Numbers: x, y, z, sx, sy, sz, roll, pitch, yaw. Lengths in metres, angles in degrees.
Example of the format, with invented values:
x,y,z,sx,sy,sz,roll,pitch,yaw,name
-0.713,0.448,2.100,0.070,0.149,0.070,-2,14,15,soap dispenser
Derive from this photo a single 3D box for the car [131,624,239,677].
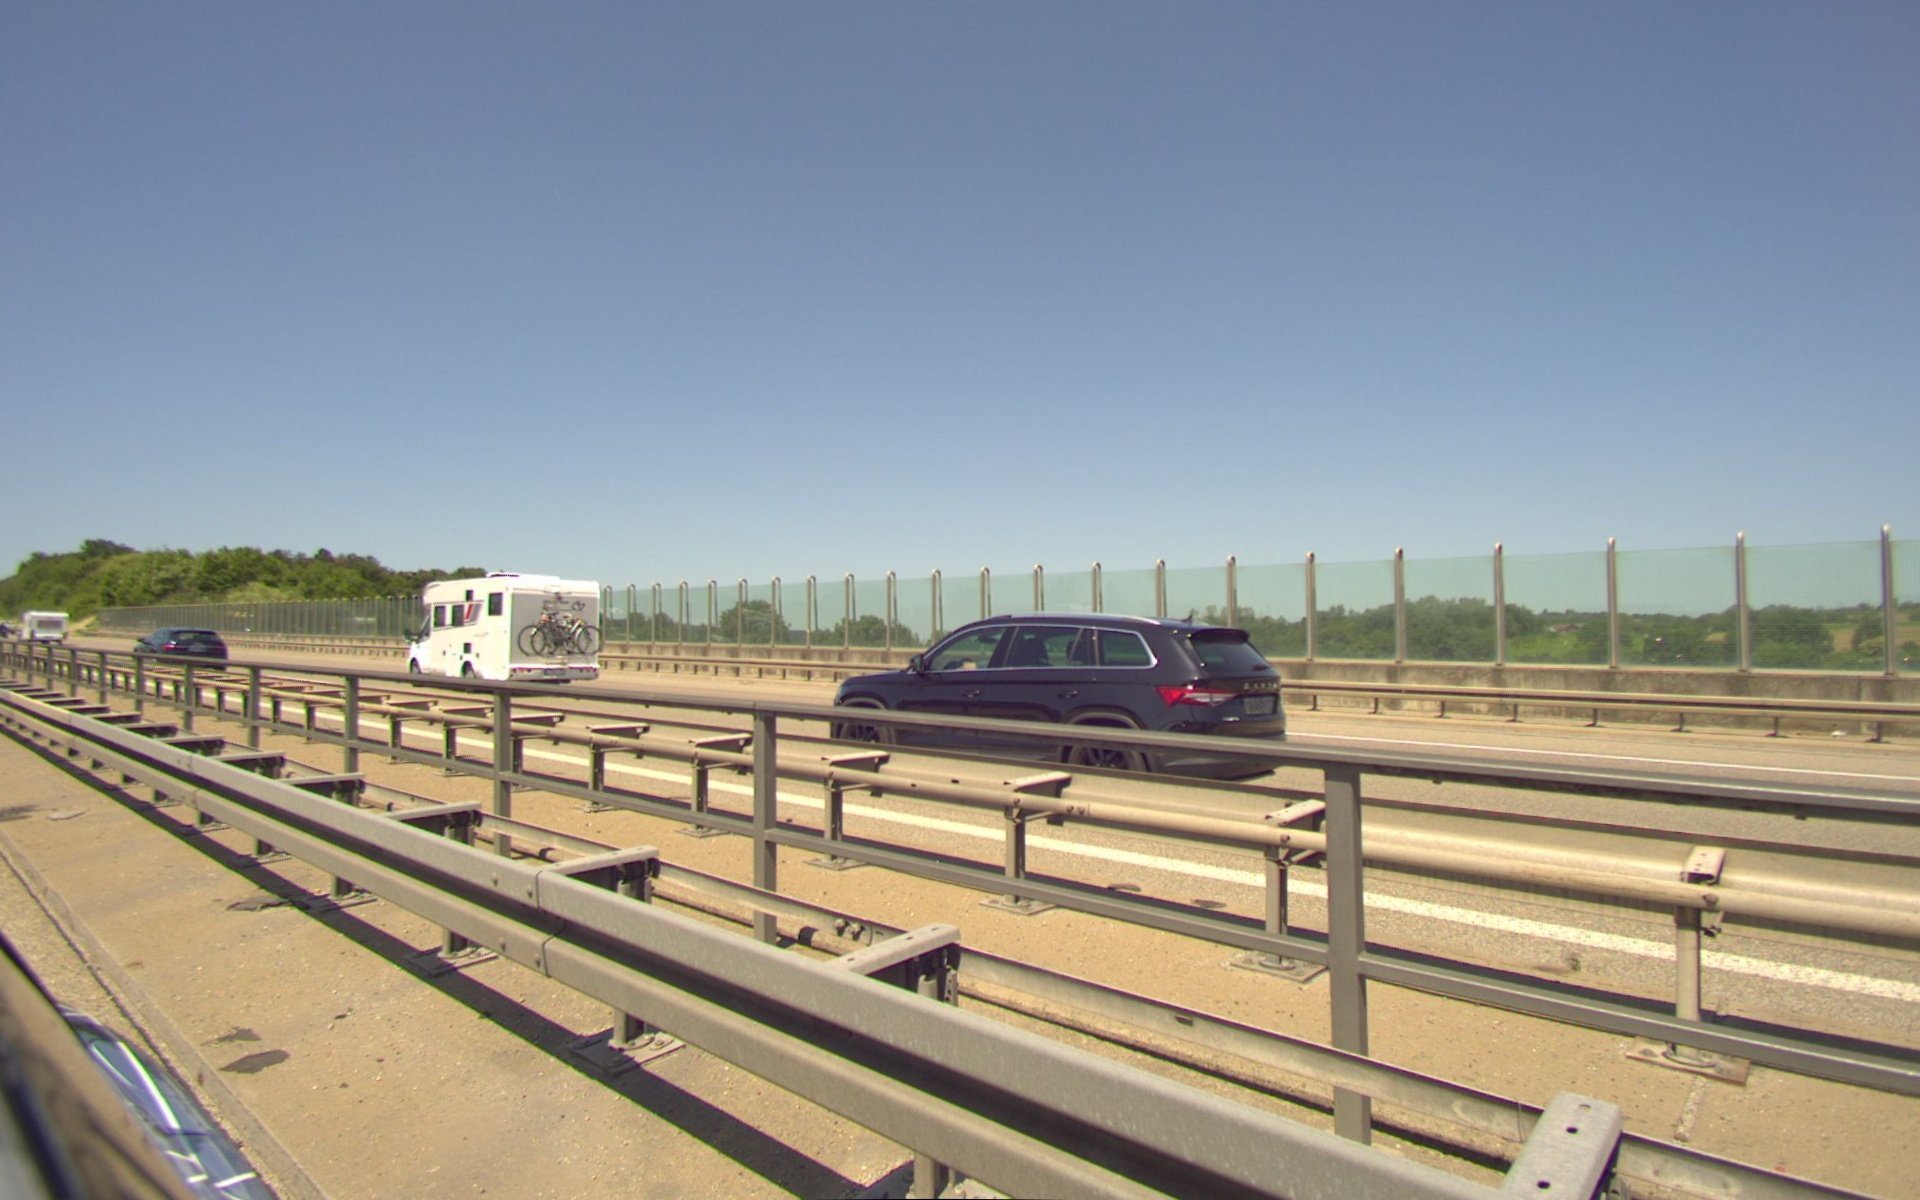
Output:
x,y,z,sx,sy,sz,roll,pitch,yaw,name
-24.914,1.615,32.476,4.422,1.543,1.848,-2,-5,41,car

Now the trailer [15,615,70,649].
x,y,z,sx,sy,sz,roll,pitch,yaw,name
-73.821,2.585,81.374,6.771,2.569,2.467,-2,-4,41,trailer

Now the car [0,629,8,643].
x,y,z,sx,sy,sz,roll,pitch,yaw,name
-104.946,3.942,109.919,4.417,1.503,1.712,-2,-4,41,car

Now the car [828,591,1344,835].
x,y,z,sx,sy,sz,roll,pitch,yaw,name
0.970,0.879,9.289,4.428,1.713,1.847,-2,-3,41,car

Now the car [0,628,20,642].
x,y,z,sx,sy,sz,roll,pitch,yaw,name
-132.340,4.877,140.618,5.252,1.899,1.973,-2,-4,41,car

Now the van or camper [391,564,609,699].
x,y,z,sx,sy,sz,roll,pitch,yaw,name
-12.012,0.849,26.116,7.023,3.047,2.397,-2,-4,41,van or camper
